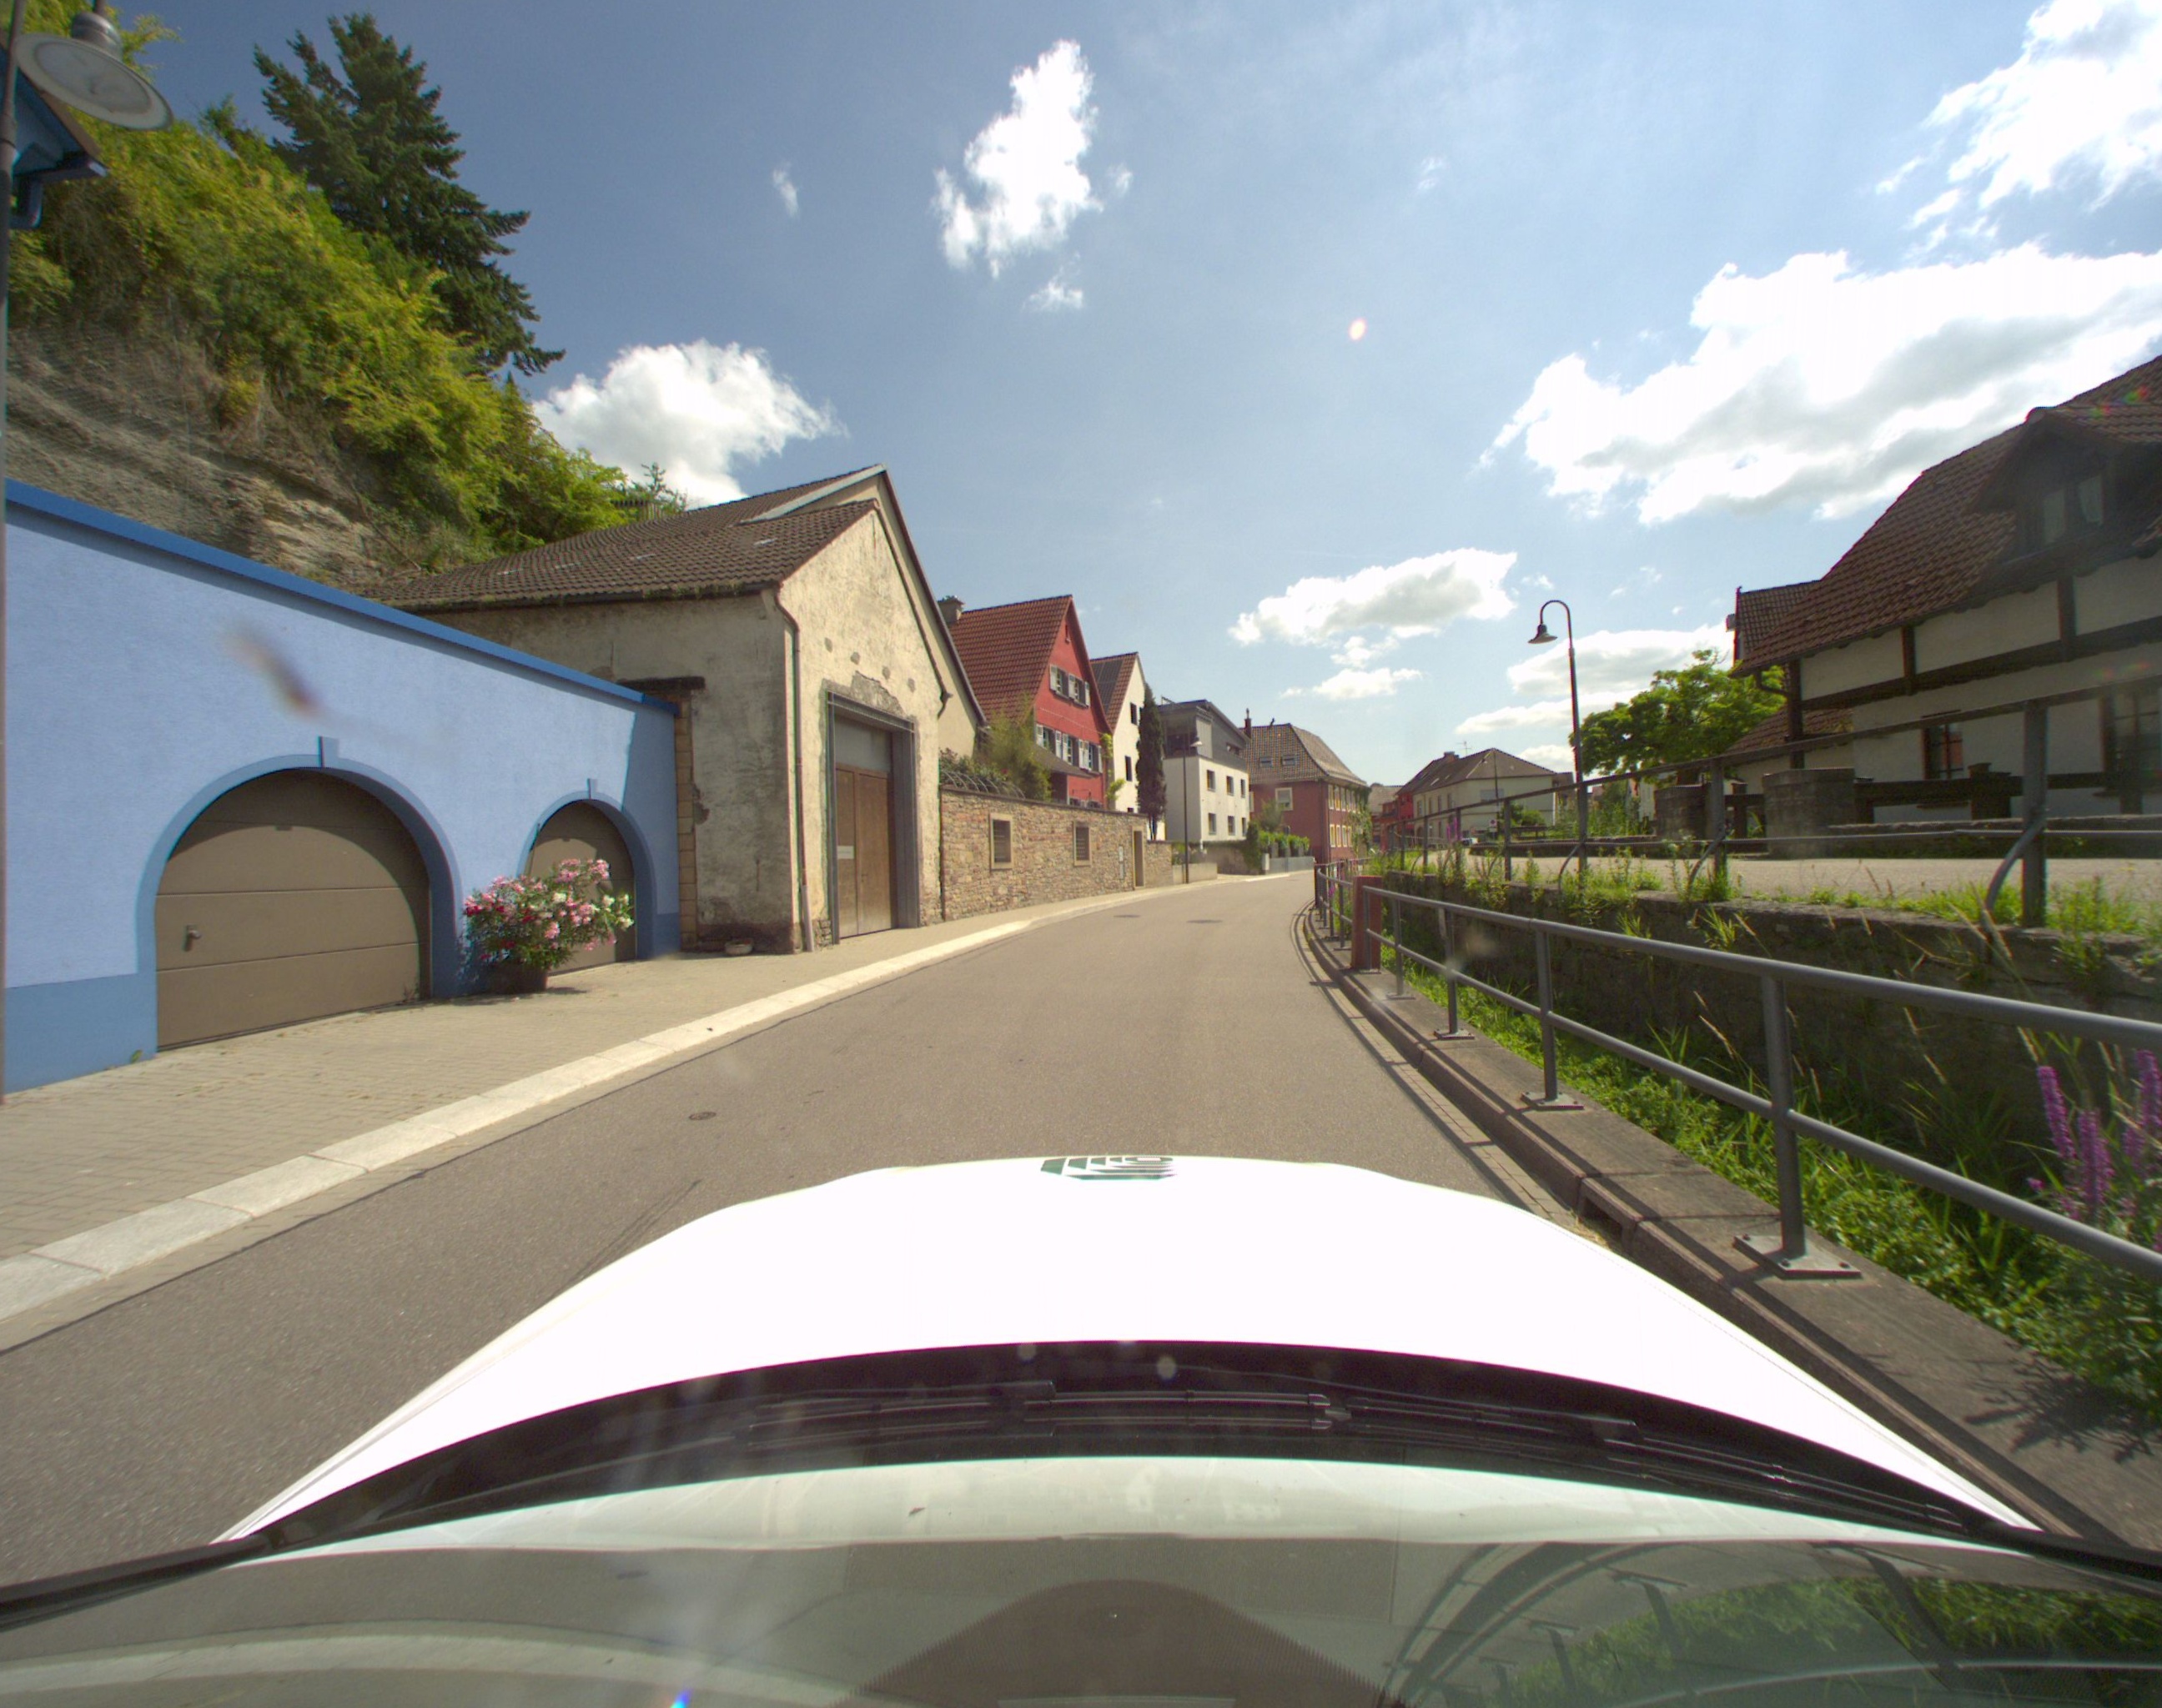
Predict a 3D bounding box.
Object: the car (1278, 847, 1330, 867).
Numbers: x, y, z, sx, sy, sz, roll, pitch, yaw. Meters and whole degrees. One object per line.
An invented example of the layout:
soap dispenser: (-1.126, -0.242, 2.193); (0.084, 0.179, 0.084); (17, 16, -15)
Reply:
car: (17.494, 0.227, 63.851); (3.531, 1.406, 1.662); (2, 2, 31)

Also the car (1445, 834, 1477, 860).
car: (32.116, -0.593, 68.785); (1.879, 1.981, 3.134); (-5, -2, 34)
